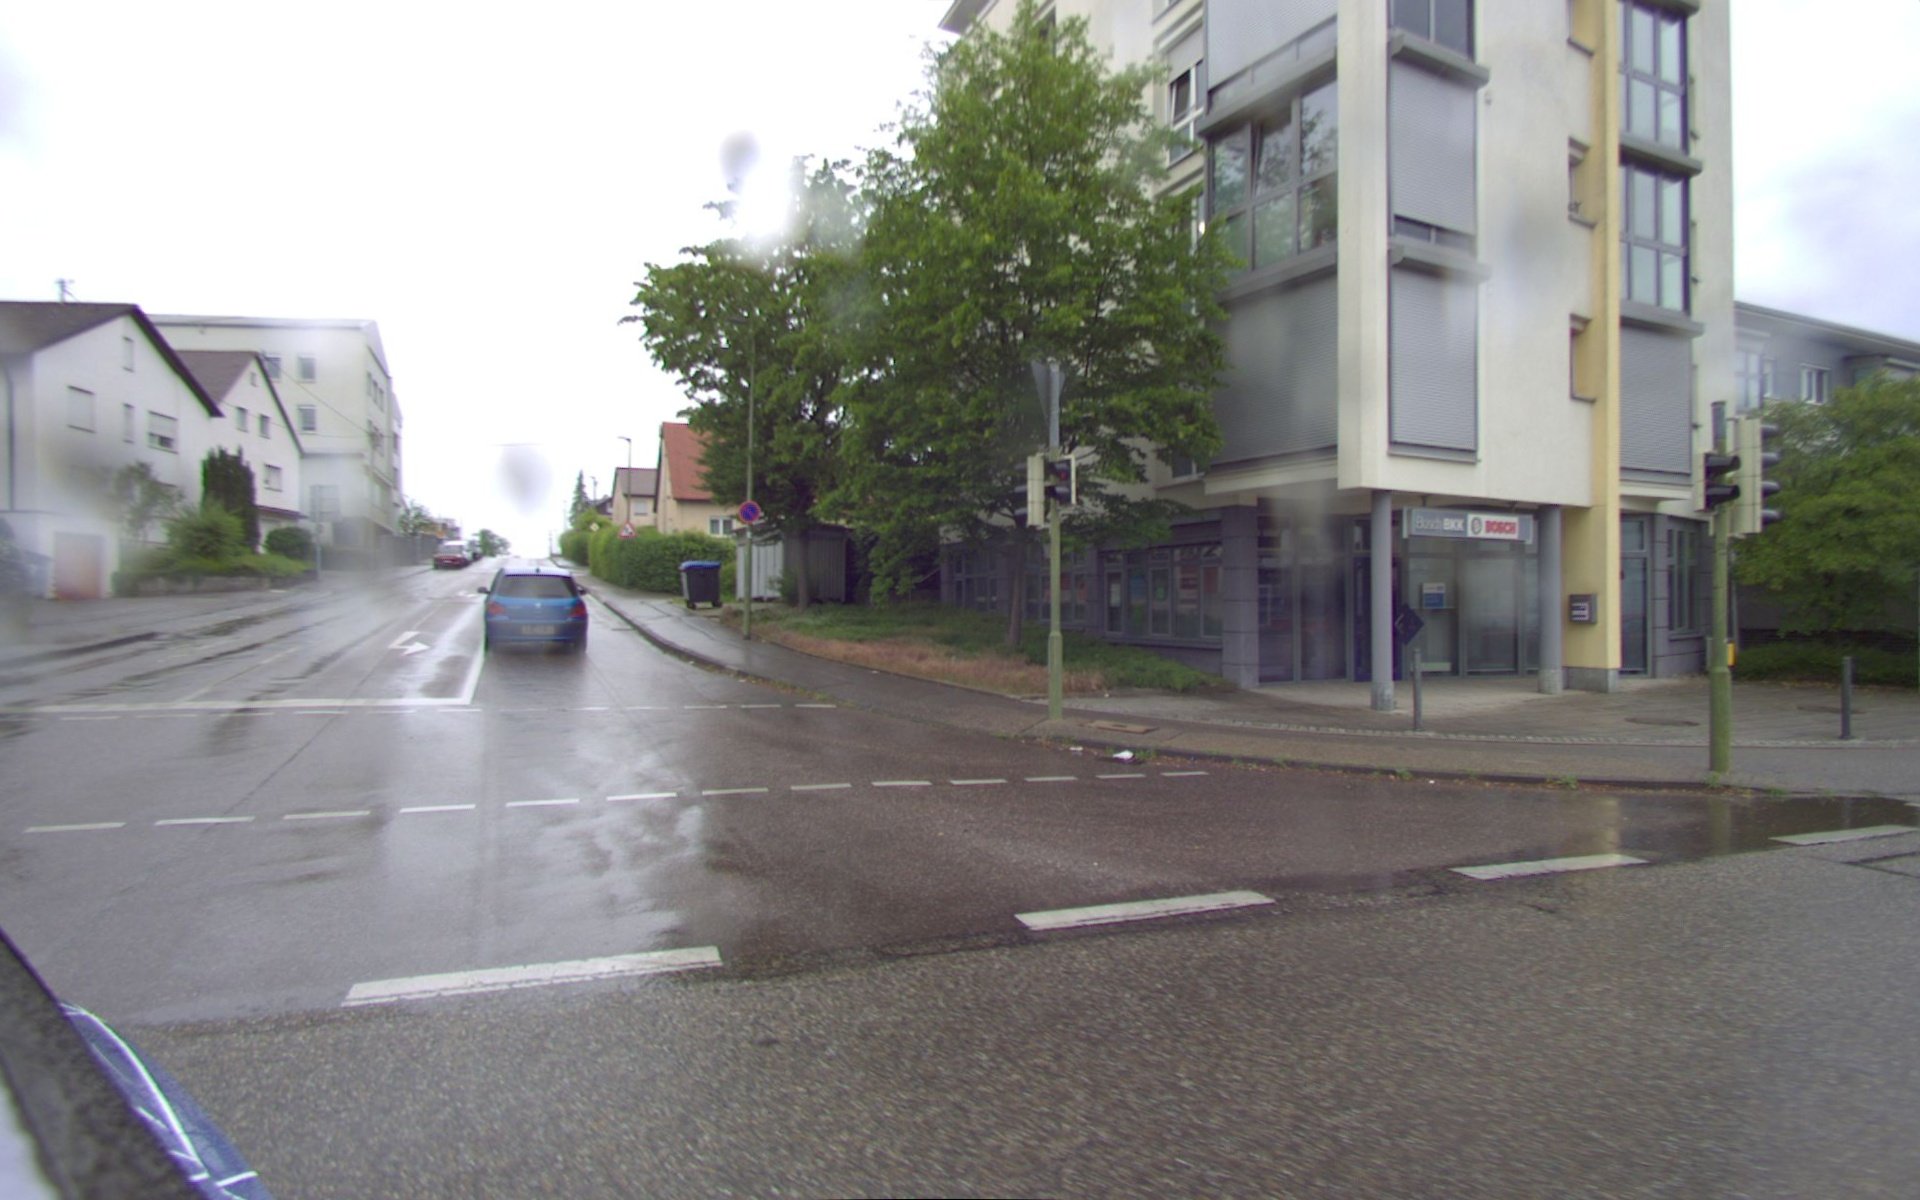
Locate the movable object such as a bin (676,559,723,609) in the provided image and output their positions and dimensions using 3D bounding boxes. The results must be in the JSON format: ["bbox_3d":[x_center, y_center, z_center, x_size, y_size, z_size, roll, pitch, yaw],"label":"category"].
[{"bbox_3d":[-7.408,-0.461,28.733,1.039,1.306,1.205,-5,3,-23],"label":"movable object such as a bin"}]

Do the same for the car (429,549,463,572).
[{"bbox_3d":[-36.303,-2.824,71.537,1.817,1.534,4.014,0,2,-22],"label":"car"}]

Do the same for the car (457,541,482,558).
[{"bbox_3d":[-45.794,-4.739,94.559,1.817,1.534,4.014,0,2,-22],"label":"car"}]

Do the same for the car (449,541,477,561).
[{"bbox_3d":[-40.931,-4.033,83.408,1.817,1.534,4.014,0,2,-22],"label":"car"}]

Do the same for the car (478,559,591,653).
[{"bbox_3d":[-8.047,0.039,18.931,1.742,1.456,4.014,0,3,-26],"label":"car"}]

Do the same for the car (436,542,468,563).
[{"bbox_3d":[-38.345,-3.591,76.472,1.817,1.534,4.014,0,2,-22],"label":"car"}]
